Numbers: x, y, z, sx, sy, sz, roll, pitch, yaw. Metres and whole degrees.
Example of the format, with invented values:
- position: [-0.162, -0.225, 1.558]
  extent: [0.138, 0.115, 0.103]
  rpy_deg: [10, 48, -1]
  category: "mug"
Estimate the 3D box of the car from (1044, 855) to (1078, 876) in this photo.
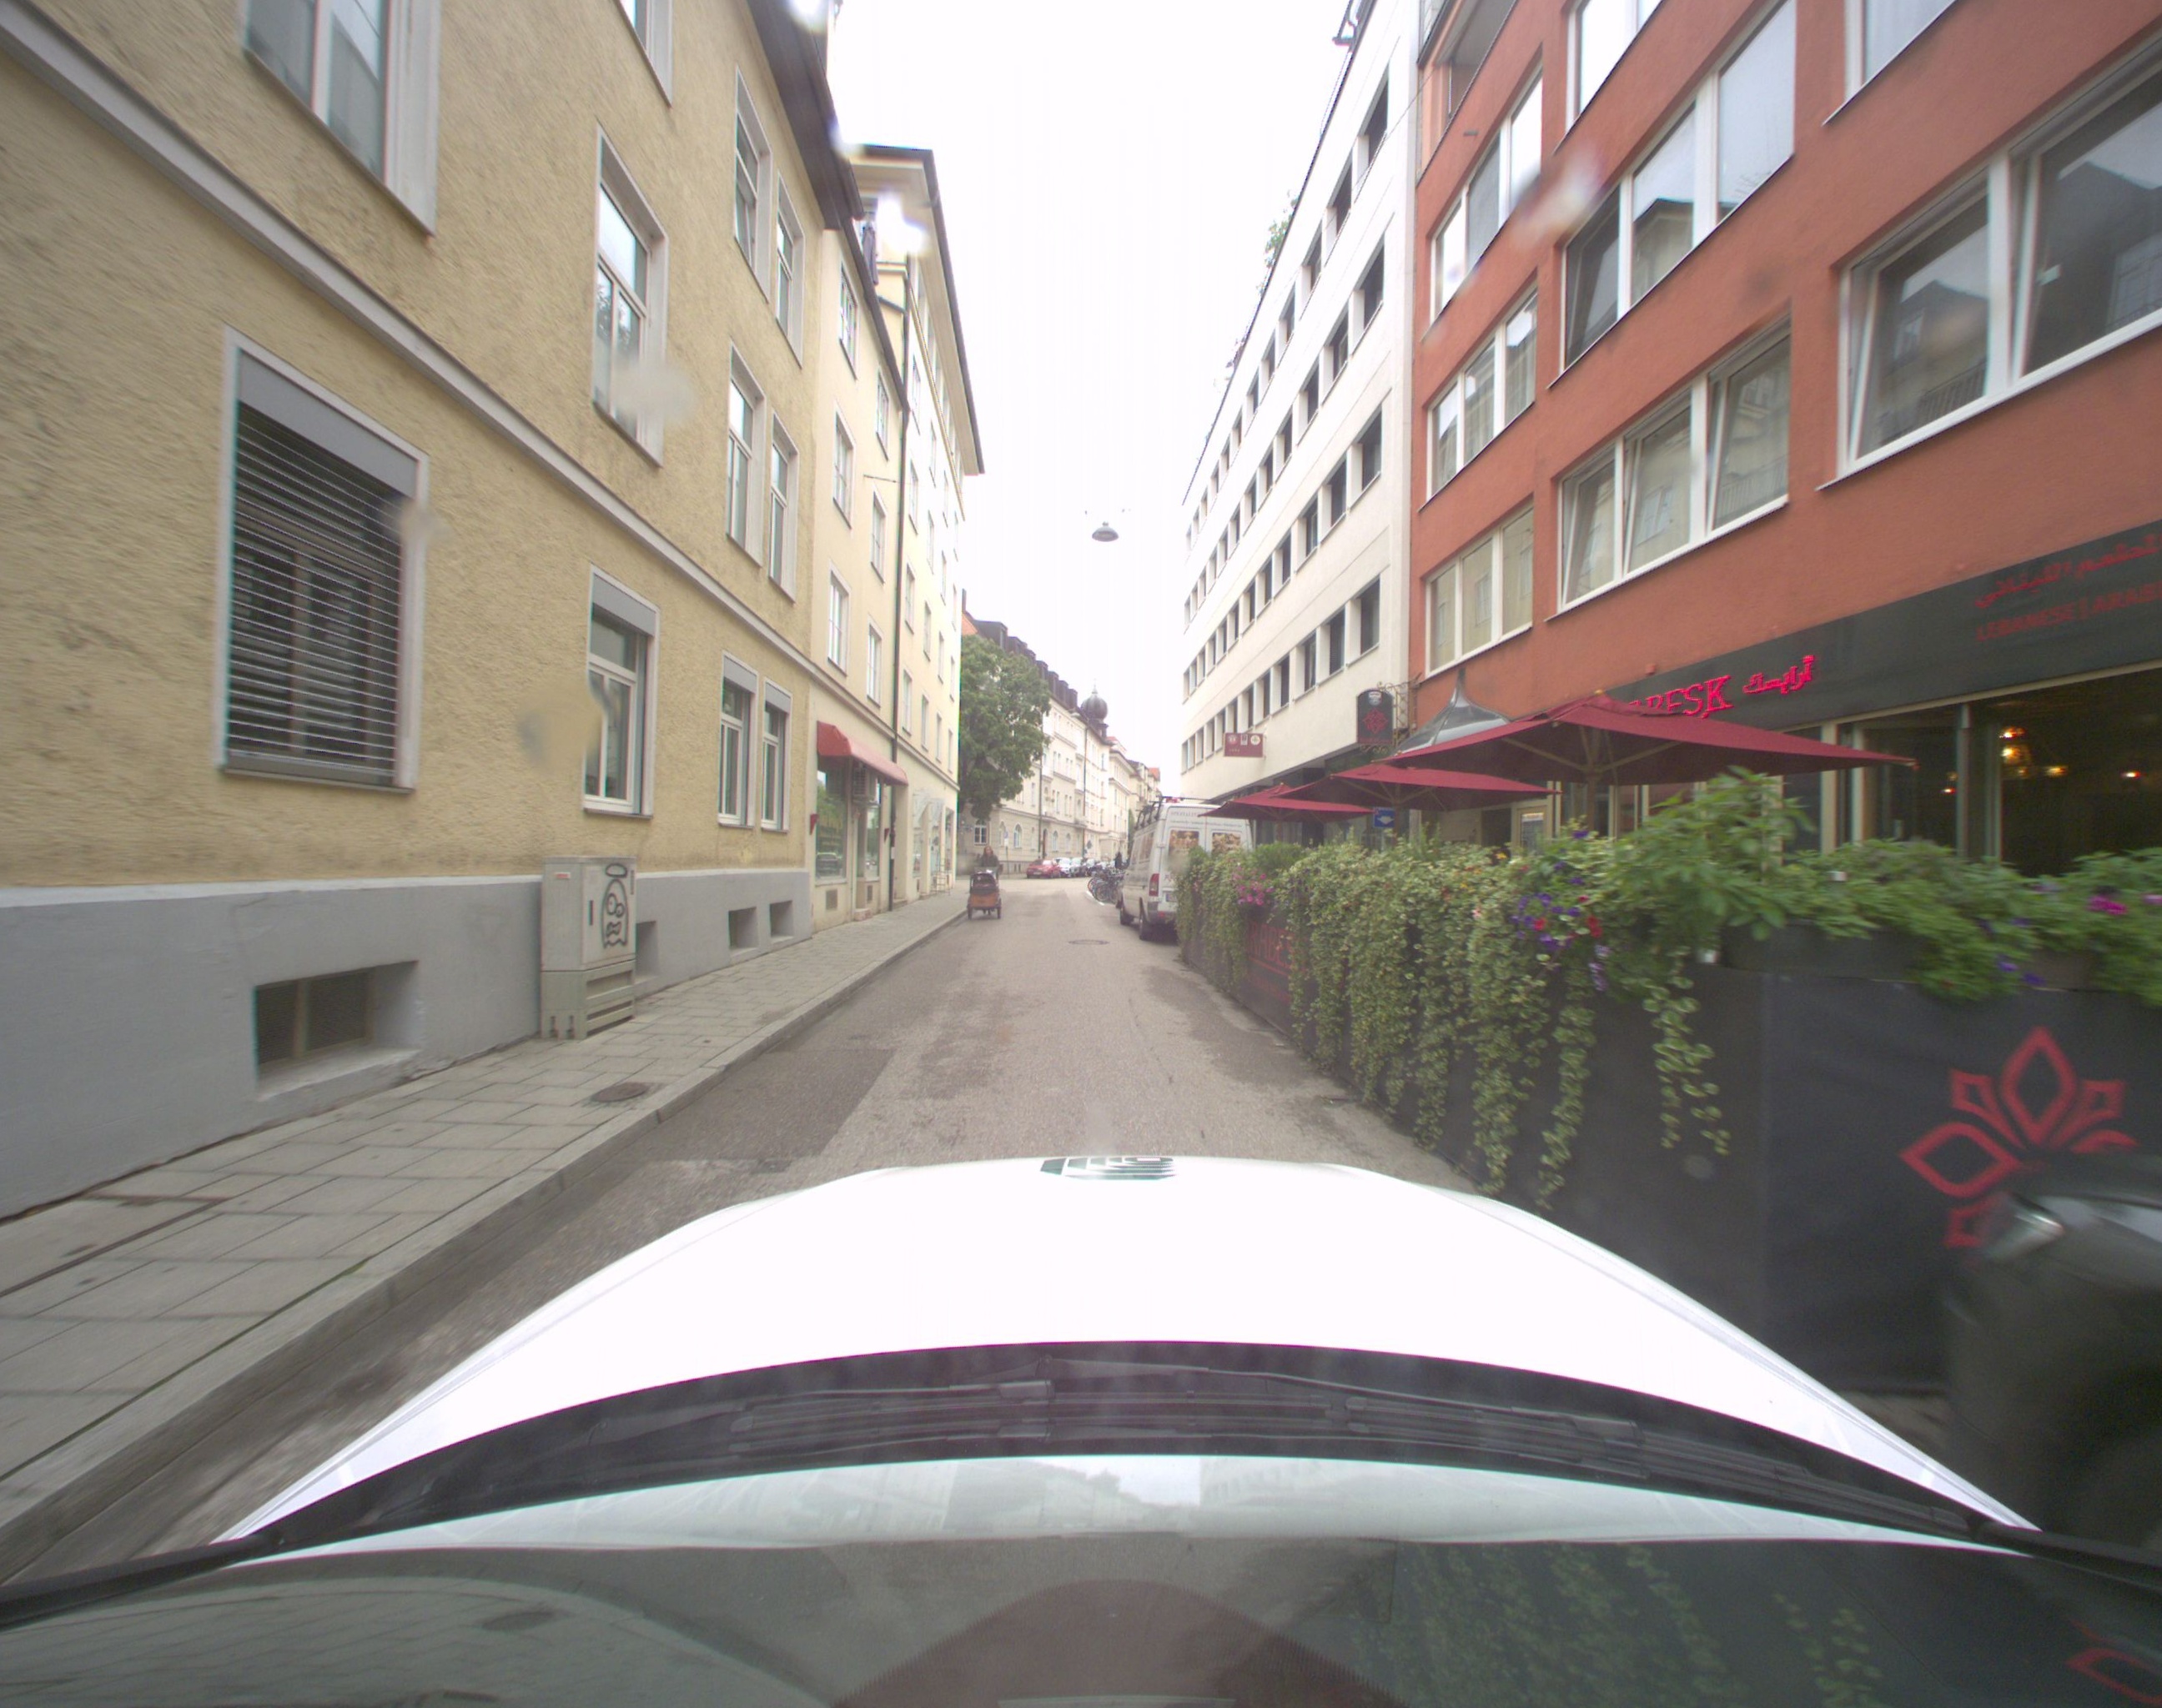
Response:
- position: [-1.495, 0.876, 61.805]
  extent: [1.983, 1.473, 4.226]
  rpy_deg: [1, 0, 6]
  category: "car"

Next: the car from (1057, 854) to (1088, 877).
- position: [-0.647, 0.925, 66.594]
  extent: [1.932, 1.702, 4.009]
  rpy_deg: [1, 0, 8]
  category: "car"

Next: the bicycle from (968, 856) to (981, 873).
- position: [-7.207, 0.725, 55.242]
  extent: [0.491, 1.052, 1.829]
  rpy_deg: [1, 2, 3]
  category: "bicycle"

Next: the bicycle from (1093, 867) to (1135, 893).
- position: [1.413, 1.103, 34.688]
  extent: [1.738, 1.080, 0.451]
  rpy_deg: [1, 1, -6]
  category: "bicycle"

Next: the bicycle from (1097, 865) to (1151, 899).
- position: [1.563, 1.029, 29.713]
  extent: [1.870, 1.157, 0.564]
  rpy_deg: [2, 1, -5]
  category: "bicycle"

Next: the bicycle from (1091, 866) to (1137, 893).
- position: [1.353, 1.034, 33.446]
  extent: [1.871, 1.080, 0.407]
  rpy_deg: [1, 1, -6]
  category: "bicycle"

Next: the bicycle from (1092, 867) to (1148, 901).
- position: [1.356, 1.036, 28.499]
  extent: [1.870, 1.108, 0.488]
  rpy_deg: [2, 1, -5]
  category: "bicycle"

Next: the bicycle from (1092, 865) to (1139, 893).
- position: [1.406, 1.022, 33.009]
  extent: [1.871, 1.080, 0.401]
  rpy_deg: [1, 1, -6]
  category: "bicycle"

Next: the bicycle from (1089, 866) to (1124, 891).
- position: [1.118, 1.092, 35.909]
  extent: [1.451, 1.069, 0.462]
  rpy_deg: [1, -1, -10]
  category: "bicycle"

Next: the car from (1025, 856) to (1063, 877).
- position: [-2.544, 0.835, 56.609]
  extent: [1.720, 1.378, 4.238]
  rpy_deg: [1, 0, 10]
  category: "car"

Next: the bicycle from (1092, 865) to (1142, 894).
- position: [1.399, 1.001, 31.608]
  extent: [1.871, 1.095, 0.439]
  rpy_deg: [1, 1, -6]
  category: "bicycle"

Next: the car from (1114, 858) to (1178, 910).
- position: [1.935, 0.859, 25.042]
  extent: [1.576, 1.464, 3.549]
  rpy_deg: [1, 0, -2]
  category: "car"

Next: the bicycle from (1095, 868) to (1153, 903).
- position: [1.447, 1.067, 27.570]
  extent: [1.870, 1.079, 0.488]
  rpy_deg: [3, 0, -5]
  category: "bicycle"

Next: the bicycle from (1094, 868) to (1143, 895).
- position: [1.470, 1.075, 32.314]
  extent: [1.871, 1.052, 0.563]
  rpy_deg: [1, -2, -6]
  category: "bicycle"

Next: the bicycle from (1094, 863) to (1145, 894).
- position: [1.468, 0.939, 31.046]
  extent: [1.890, 1.170, 0.565]
  rpy_deg: [0, 0, -5]
  category: "bicycle"

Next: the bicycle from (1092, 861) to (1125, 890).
- position: [1.237, 0.985, 36.925]
  extent: [1.452, 1.285, 0.445]
  rpy_deg: [1, -1, -2]
  category: "bicycle"

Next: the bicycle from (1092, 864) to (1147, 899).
- position: [1.365, 0.984, 29.021]
  extent: [1.870, 1.204, 0.488]
  rpy_deg: [1, 1, -5]
  category: "bicycle"

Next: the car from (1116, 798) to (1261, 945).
- position: [2.018, 0.311, 17.251]
  extent: [1.916, 2.506, 5.990]
  rpy_deg: [2, 0, -3]
  category: "car"

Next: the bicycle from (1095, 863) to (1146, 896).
- position: [1.470, 0.931, 30.441]
  extent: [1.870, 1.204, 0.579]
  rpy_deg: [0, 0, -5]
  category: "bicycle"

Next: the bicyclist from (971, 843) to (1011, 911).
- position: [-2.362, 0.594, 21.469]
  extent: [0.924, 1.721, 1.099]
  rpy_deg: [0, 0, -2]
  category: "bicyclist"

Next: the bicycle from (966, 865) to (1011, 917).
- position: [-2.358, 0.923, 21.048]
  extent: [0.929, 1.257, 2.412]
  rpy_deg: [0, -1, -2]
  category: "bicycle"

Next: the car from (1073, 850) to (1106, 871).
- position: [0.764, 0.555, 71.808]
  extent: [1.980, 1.738, 4.537]
  rpy_deg: [1, 0, 12]
  category: "car"
